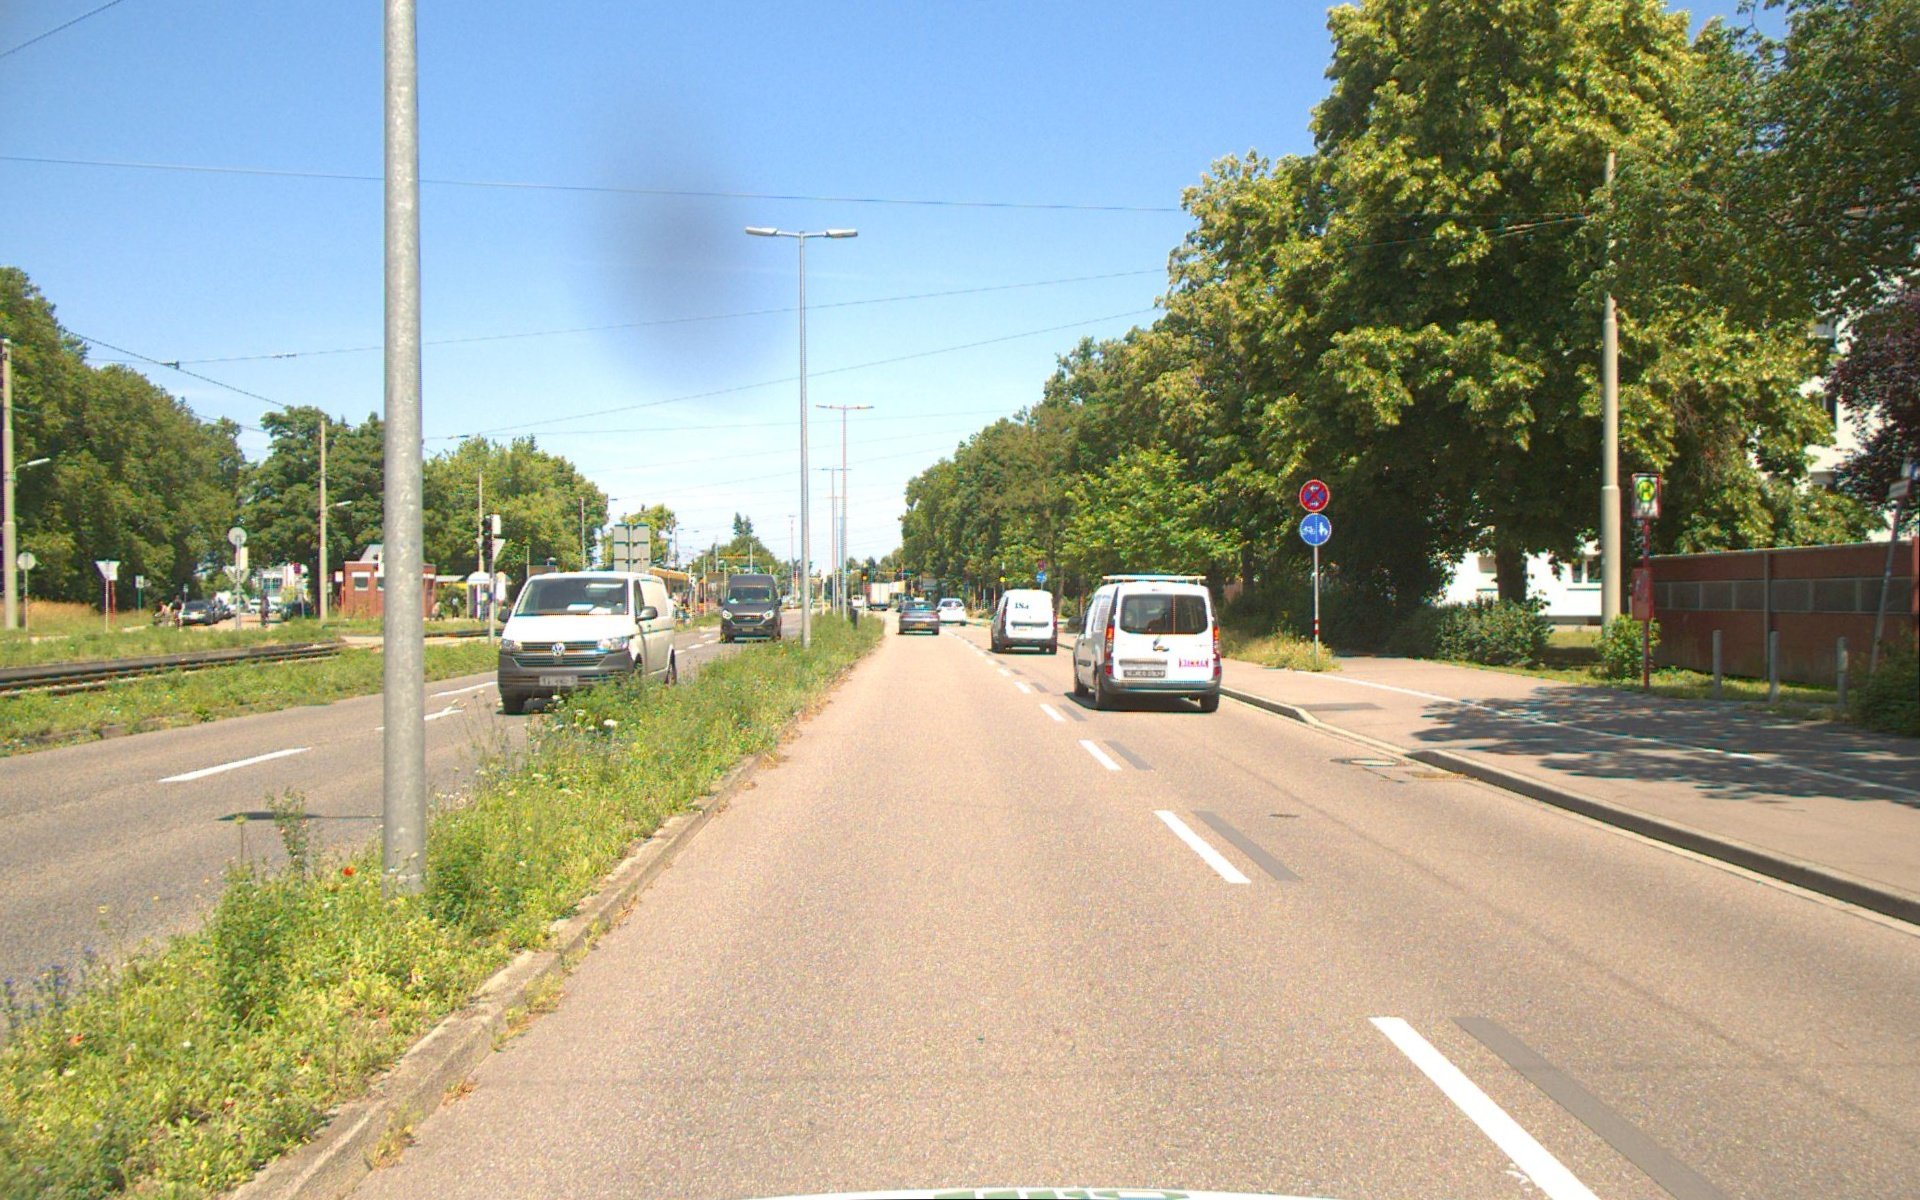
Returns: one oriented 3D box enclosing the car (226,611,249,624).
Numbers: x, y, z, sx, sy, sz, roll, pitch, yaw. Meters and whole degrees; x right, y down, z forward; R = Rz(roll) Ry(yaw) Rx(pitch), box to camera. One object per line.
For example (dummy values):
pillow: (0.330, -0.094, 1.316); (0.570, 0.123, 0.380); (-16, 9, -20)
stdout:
car: (-79.926, 1.930, 182.900); (1.963, 1.493, 3.979); (0, 0, -18)

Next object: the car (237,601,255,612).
car: (-97.616, 0.858, 226.132); (1.963, 1.493, 3.979); (0, 0, -18)

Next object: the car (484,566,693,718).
car: (-5.353, 0.554, 24.607); (1.792, 1.939, 5.566); (-2, 0, 0)

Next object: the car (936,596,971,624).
car: (-0.391, 0.544, 94.360); (1.768, 1.567, 3.996); (0, 0, -4)

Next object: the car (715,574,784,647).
car: (-7.366, 0.348, 58.444); (1.954, 2.407, 5.370); (-1, 0, -3)

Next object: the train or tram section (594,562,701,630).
train or tram section: (-20.027, -0.151, 109.259); (2.733, 3.732, 37.483); (0, 0, -4)

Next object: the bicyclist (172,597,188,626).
bicyclist: (-36.694, 0.534, 77.835); (0.498, 1.359, 0.679); (0, 0, -10)

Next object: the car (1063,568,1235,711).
car: (2.710, 0.542, 24.710); (1.788, 1.915, 4.452); (1, 0, -3)

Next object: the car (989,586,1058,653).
car: (1.811, 0.535, 48.244); (1.693, 1.845, 3.999); (1, 0, -2)

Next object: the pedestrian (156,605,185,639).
pedestrian: (-41.439, 1.151, 86.830); (0.508, 1.731, 1.264); (0, -1, 40)

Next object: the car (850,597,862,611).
car: (-15.306, 0.606, 242.658); (1.654, 1.931, 3.866); (0, 0, -4)

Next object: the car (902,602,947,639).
car: (-1.544, 0.857, 69.949); (1.766, 1.512, 3.997); (0, 0, -3)

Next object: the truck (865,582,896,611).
truck: (-10.943, -0.418, 226.567); (3.822, 3.879, 10.782); (0, 0, -4)

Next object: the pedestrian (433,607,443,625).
pedestrian: (-31.076, 0.945, 98.458); (0.472, 1.036, 0.522); (0, 0, -2)

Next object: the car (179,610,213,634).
car: (-50.222, 1.430, 108.768); (1.968, 1.493, 3.970); (0, 0, -24)
